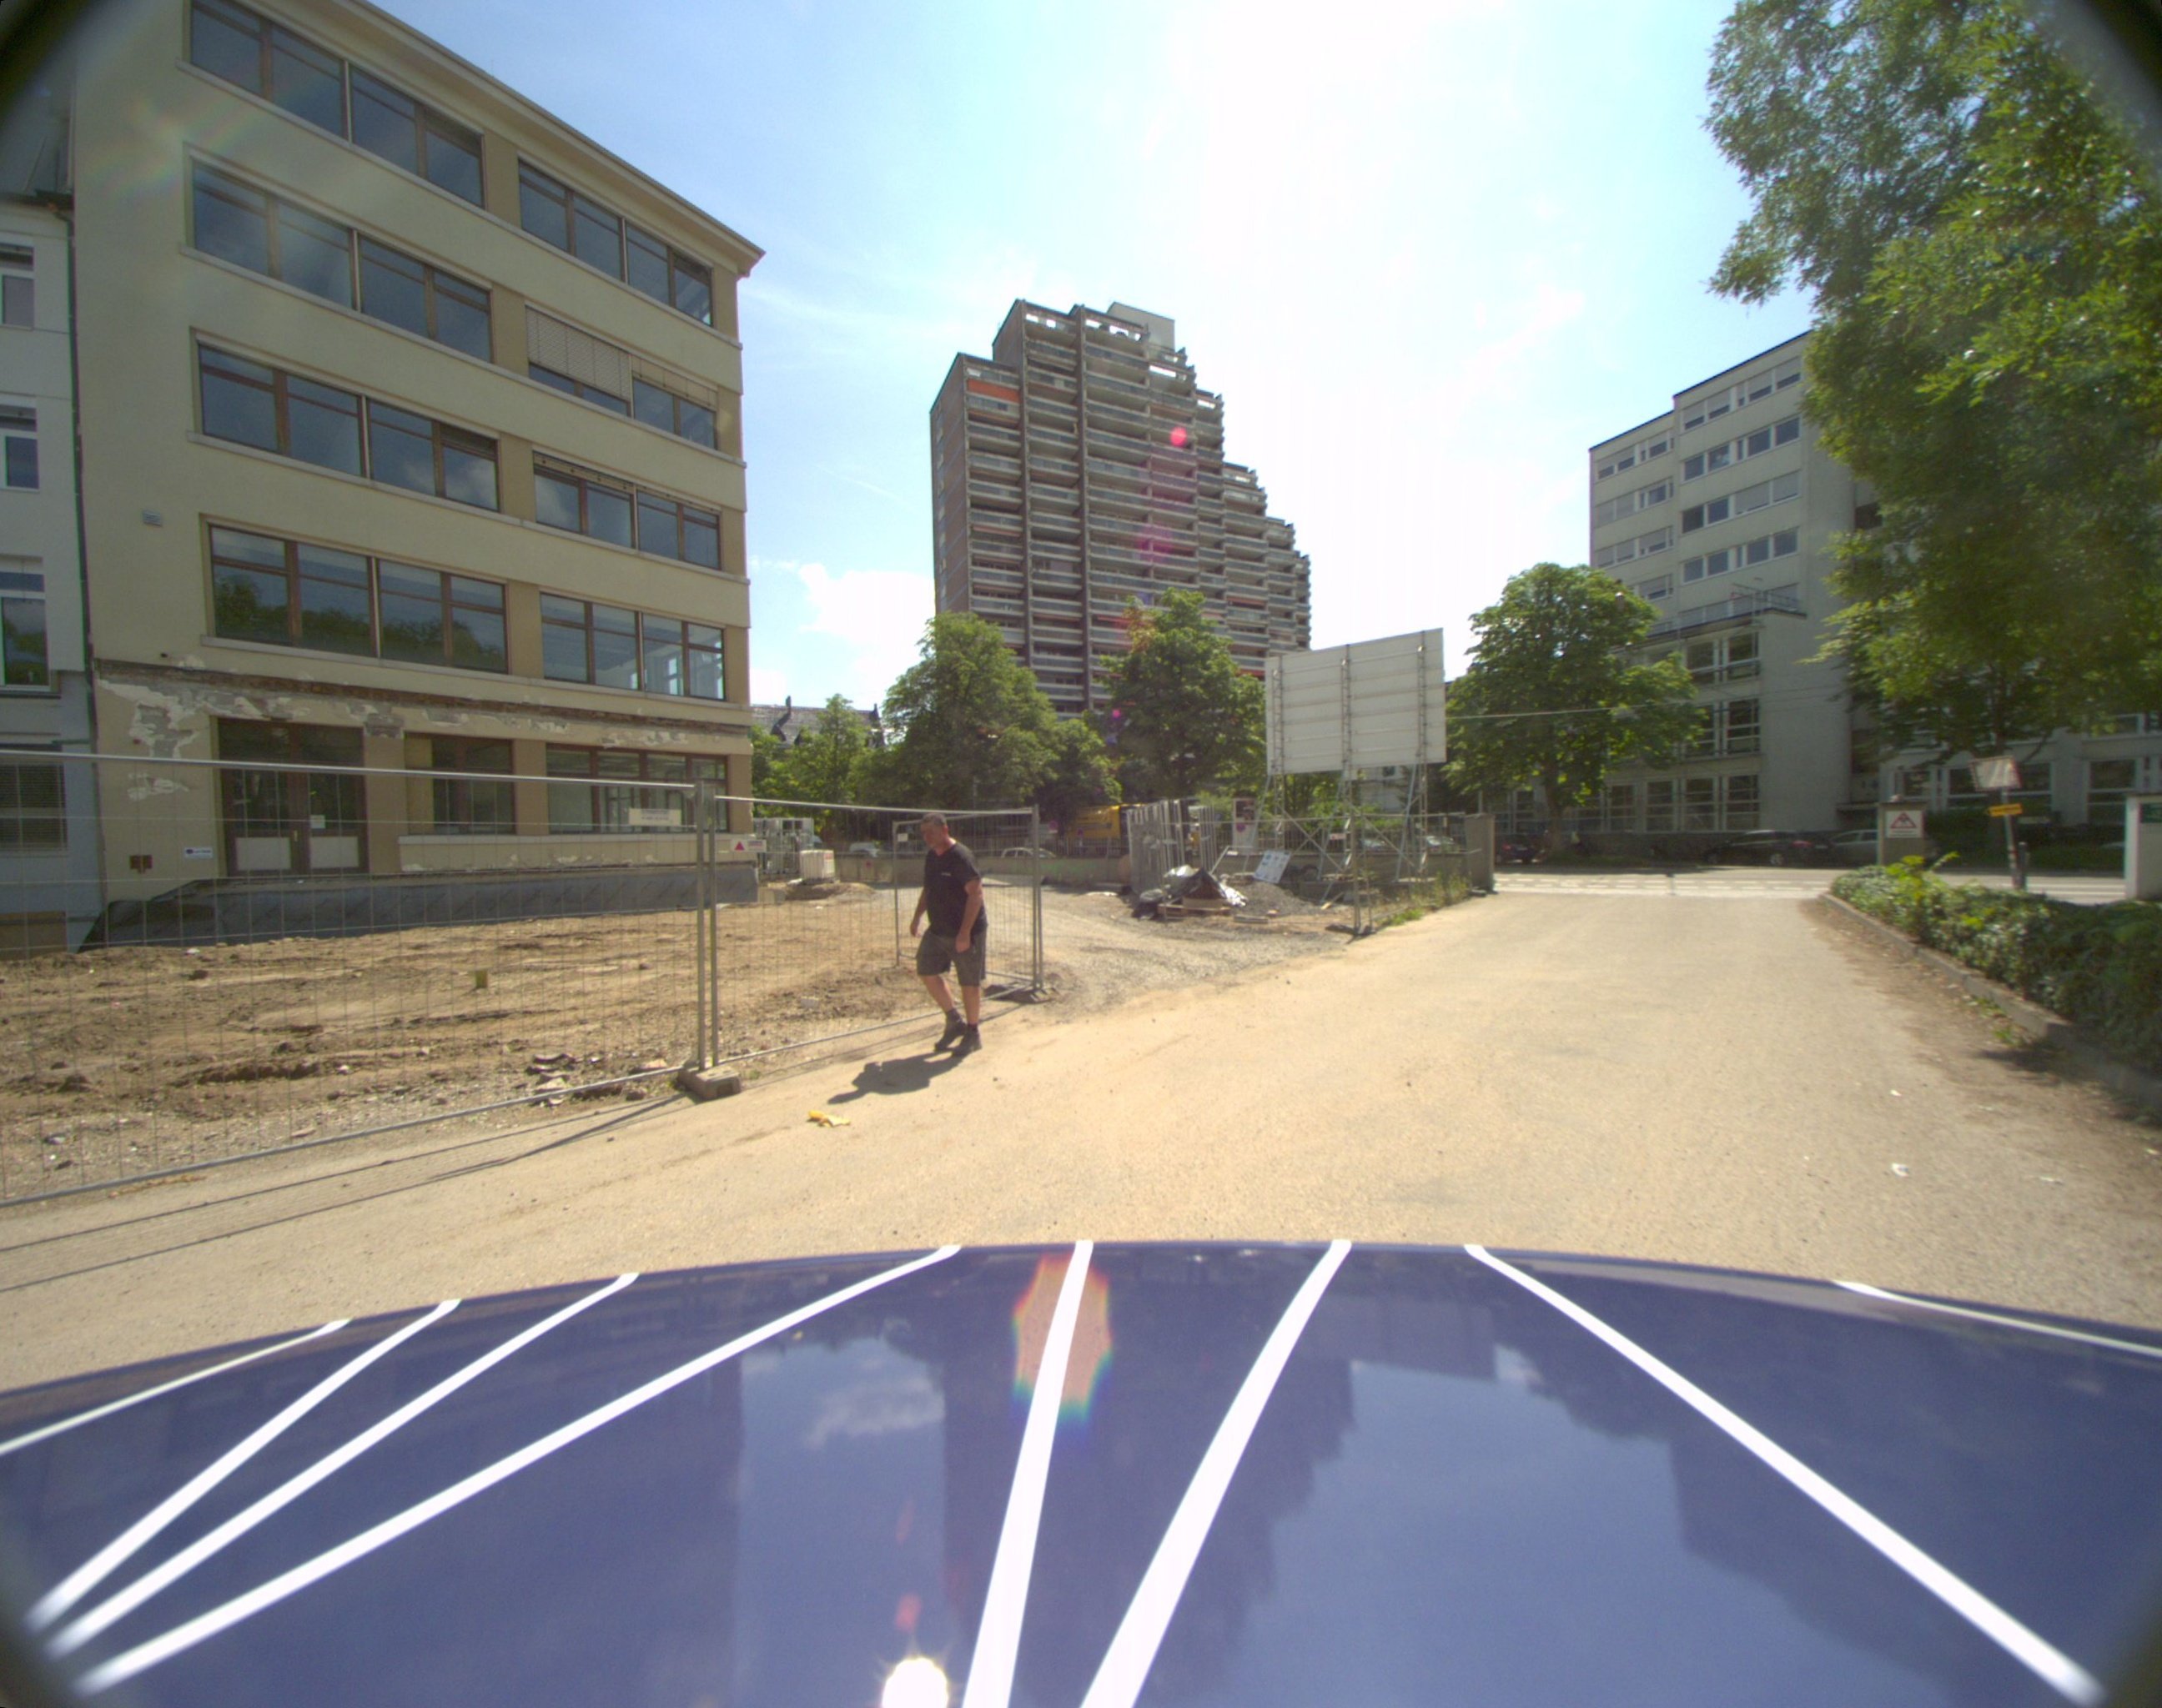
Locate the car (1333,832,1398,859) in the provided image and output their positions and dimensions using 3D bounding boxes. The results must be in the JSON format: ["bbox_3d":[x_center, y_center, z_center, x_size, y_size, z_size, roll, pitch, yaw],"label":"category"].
[{"bbox_3d":[15.395,-0.480,41.317,1.630,1.365,4.019,-2,1,-8],"label":"car"}]

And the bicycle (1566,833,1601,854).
[{"bbox_3d":[27.421,-0.570,41.450,1.945,1.124,0.567,-2,2,-20],"label":"bicycle"}]

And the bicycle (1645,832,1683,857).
[{"bbox_3d":[29.319,-0.485,38.225,1.945,1.230,0.567,-2,2,-20],"label":"bicycle"}]

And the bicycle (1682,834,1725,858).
[{"bbox_3d":[30.161,-0.382,36.795,2.237,1.124,0.567,-2,2,-20],"label":"bicycle"}]

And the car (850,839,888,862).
[{"bbox_3d":[-19.573,-0.329,70.284,1.998,2.002,4.000,-2,1,4],"label":"car"}]

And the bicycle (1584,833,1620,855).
[{"bbox_3d":[27.818,-0.538,40.547,1.945,1.124,0.567,-2,2,-20],"label":"bicycle"}]

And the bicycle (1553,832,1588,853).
[{"bbox_3d":[27.152,-0.642,42.146,1.929,1.124,0.567,-2,2,-20],"label":"bicycle"}]

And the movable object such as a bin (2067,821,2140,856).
[{"bbox_3d":[39.219,-0.585,29.188,1.448,1.323,1.128,0,1,40],"label":"movable object such as a bin"}]

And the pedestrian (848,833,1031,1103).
[{"bbox_3d":[-1.039,0.757,5.705,0.868,1.809,0.969,0,2,32],"label":"pedestrian"}]

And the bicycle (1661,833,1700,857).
[{"bbox_3d":[29.472,-0.432,37.363,1.945,1.124,0.567,-2,2,-20],"label":"bicycle"}]

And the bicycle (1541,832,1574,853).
[{"bbox_3d":[26.891,-0.660,42.871,1.930,1.124,0.567,-2,2,-23],"label":"bicycle"}]

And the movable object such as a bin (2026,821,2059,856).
[{"bbox_3d":[39.175,-0.640,30.962,0.768,1.397,0.802,-2,1,-37],"label":"movable object such as a bin"}]

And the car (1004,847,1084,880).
[{"bbox_3d":[-1.752,0.409,35.044,3.573,1.432,1.626,0,2,43],"label":"car"}]

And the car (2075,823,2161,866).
[{"bbox_3d":[36.090,-0.323,24.868,1.715,1.405,3.977,-1,1,-8],"label":"car"}]

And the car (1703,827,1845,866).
[{"bbox_3d":[28.402,-0.318,31.352,1.754,1.461,4.194,-1,1,-7],"label":"car"}]

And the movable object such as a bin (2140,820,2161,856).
[{"bbox_3d":[40.477,-0.595,28.244,1.074,1.323,0.973,0,1,40],"label":"movable object such as a bin"}]

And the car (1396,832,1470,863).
[{"bbox_3d":[18.040,-0.334,39.154,1.818,1.454,4.021,-2,1,-1],"label":"car"}]

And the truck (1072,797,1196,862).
[{"bbox_3d":[3.287,-1.557,50.802,2.755,3.983,9.718,-3,2,-35],"label":"truck"}]

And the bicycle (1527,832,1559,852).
[{"bbox_3d":[26.482,-0.689,43.535,1.930,1.124,0.567,-2,2,-23],"label":"bicycle"}]

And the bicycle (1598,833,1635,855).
[{"bbox_3d":[28.042,-0.514,39.789,1.945,1.124,0.567,-2,2,-20],"label":"bicycle"}]

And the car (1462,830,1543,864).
[{"bbox_3d":[20.598,-0.354,37.251,1.650,1.508,3.573,-2,1,-7],"label":"car"}]

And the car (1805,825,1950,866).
[{"bbox_3d":[30.788,-0.347,29.534,1.754,1.454,3.537,-1,1,-7],"label":"car"}]

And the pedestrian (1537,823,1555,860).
[{"bbox_3d":[23.681,-0.642,38.723,0.717,1.864,0.576,-2,2,-38],"label":"pedestrian"}]
